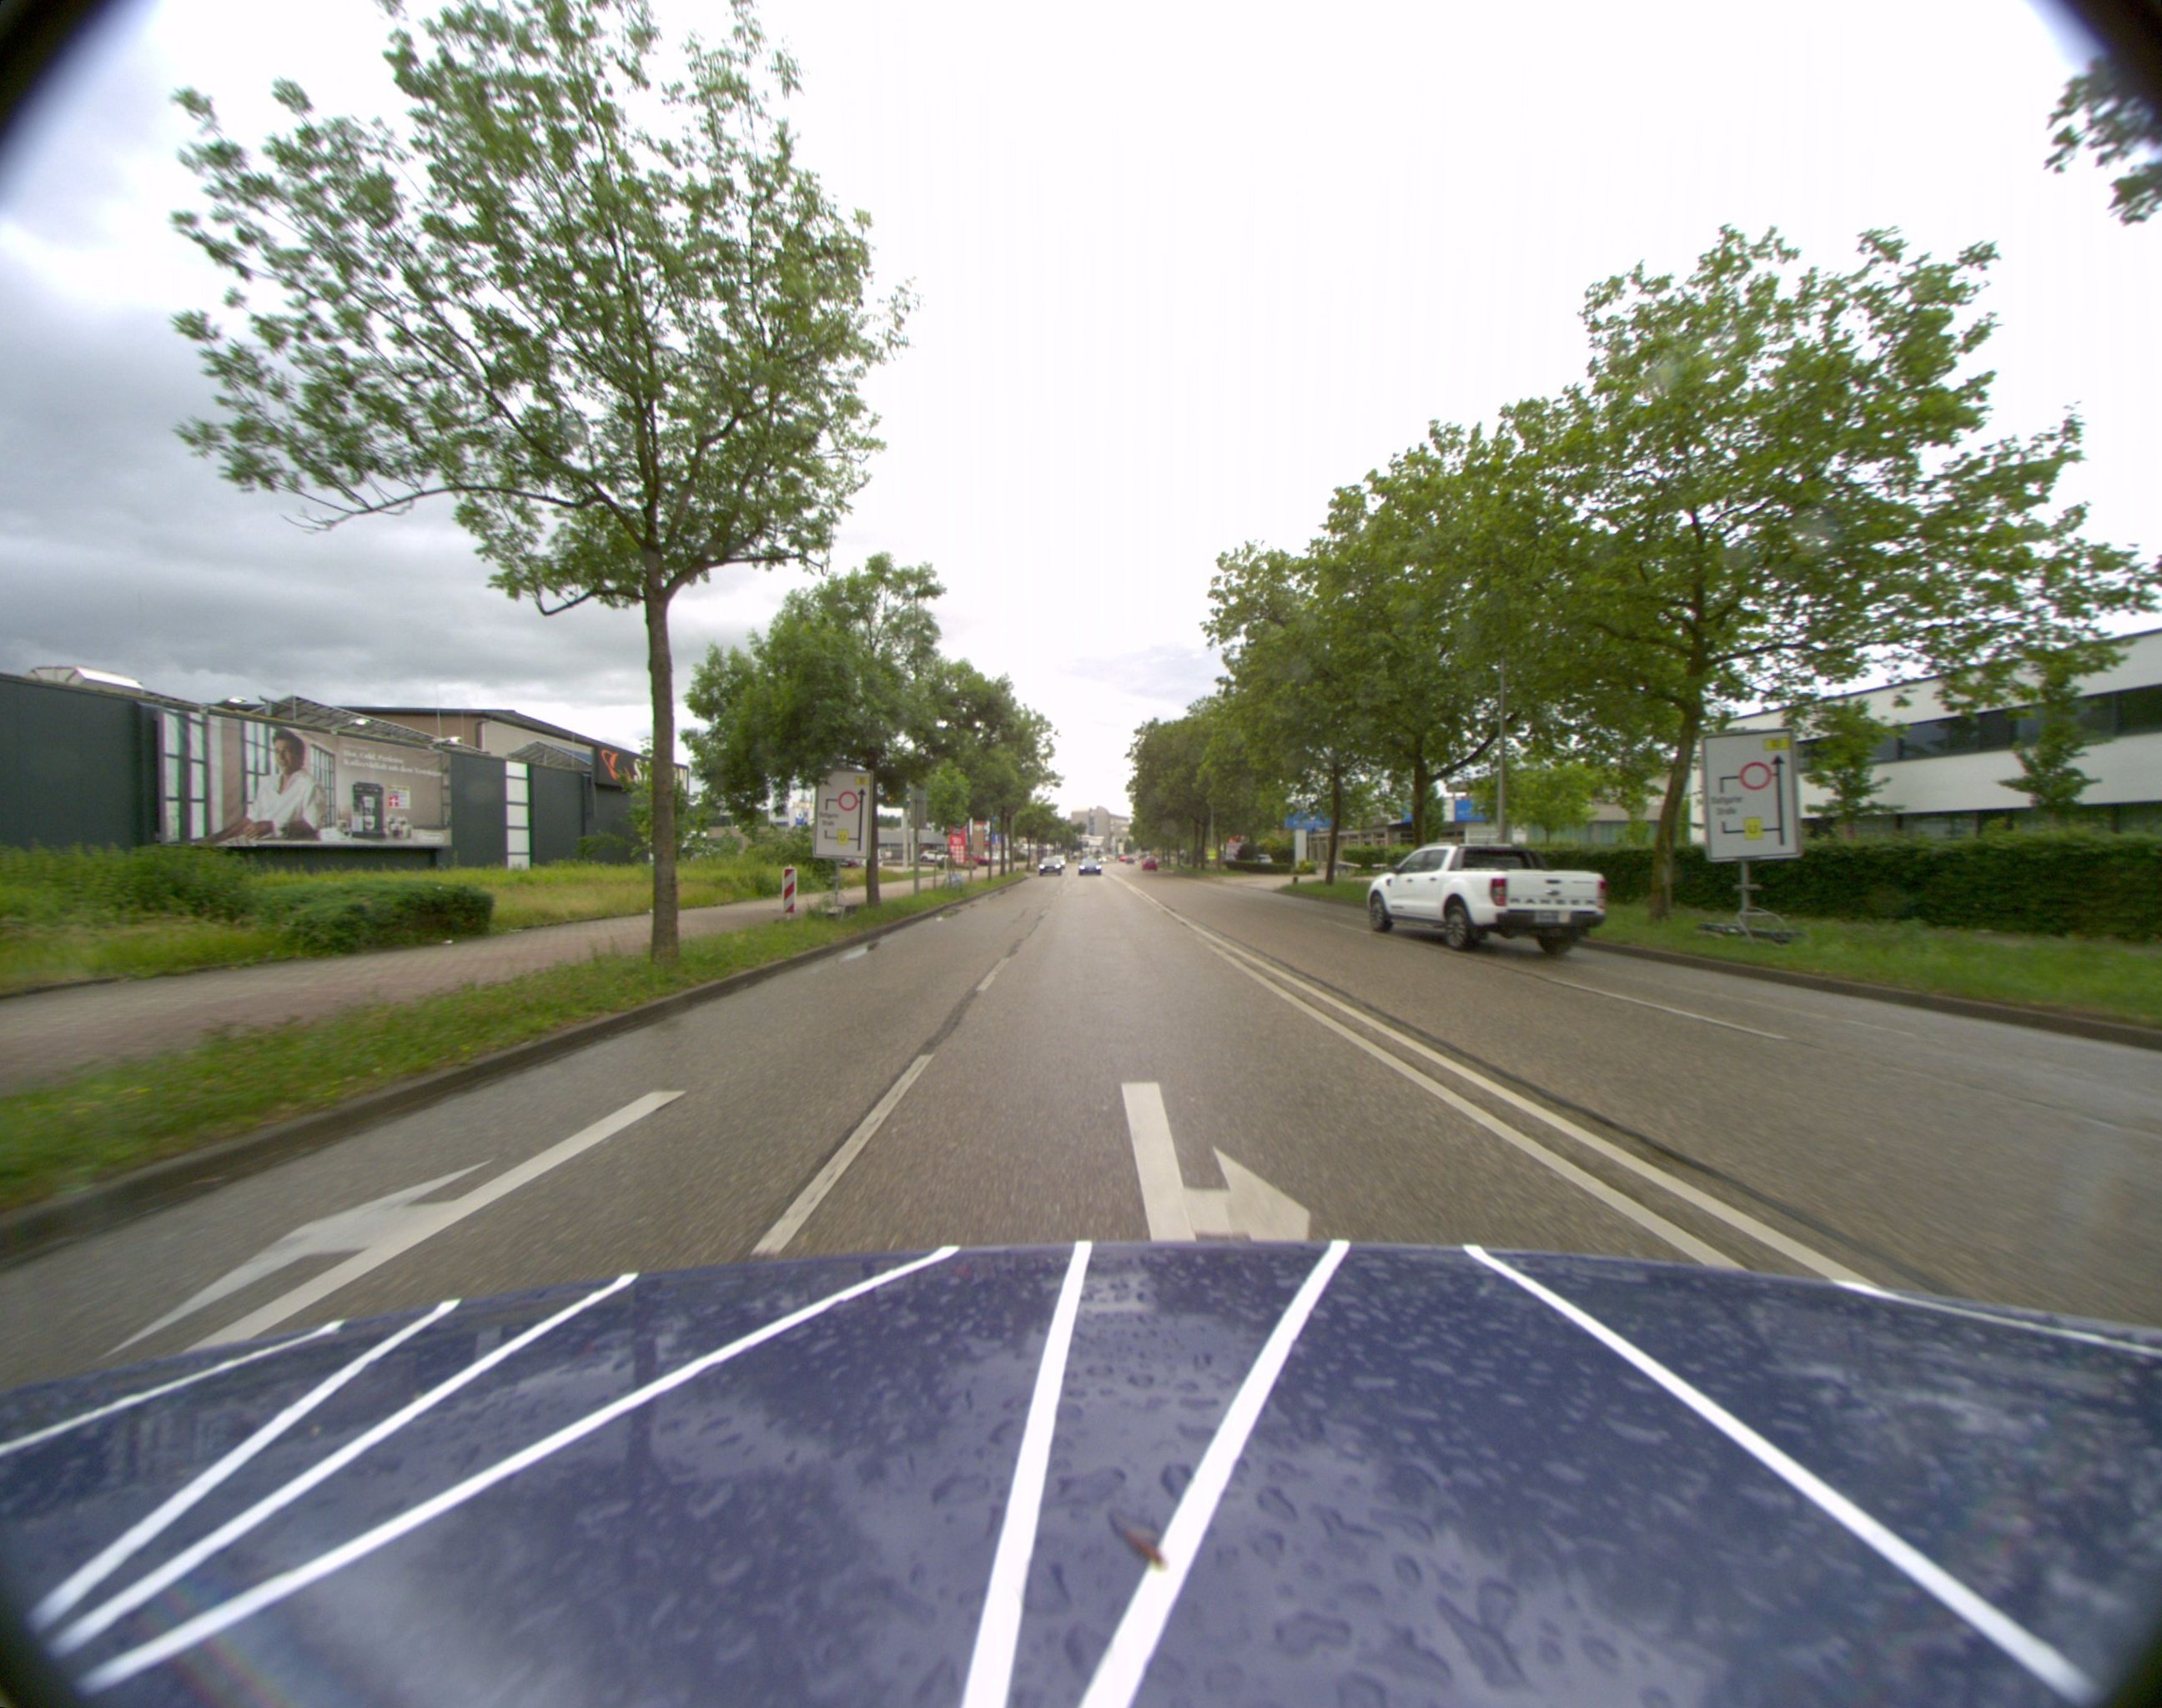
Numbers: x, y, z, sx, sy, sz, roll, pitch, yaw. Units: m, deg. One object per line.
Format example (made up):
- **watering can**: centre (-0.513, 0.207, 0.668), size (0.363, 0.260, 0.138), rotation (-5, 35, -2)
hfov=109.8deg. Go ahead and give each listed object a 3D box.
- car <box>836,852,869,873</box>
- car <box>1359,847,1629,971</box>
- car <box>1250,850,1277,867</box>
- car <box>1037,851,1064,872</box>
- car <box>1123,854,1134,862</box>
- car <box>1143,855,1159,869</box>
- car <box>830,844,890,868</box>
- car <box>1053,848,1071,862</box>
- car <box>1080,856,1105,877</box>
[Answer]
- **car**: centre (-16.459, 0.581, 54.941), size (1.755, 1.405, 4.133), rotation (1, 0, -9)
- **car**: centre (7.026, 0.805, 13.807), size (1.916, 1.795, 5.340), rotation (1, 0, -1)
- **car**: centre (18.142, 0.417, 75.734), size (1.746, 1.525, 4.000), rotation (2, 1, 2)
- **car**: centre (-2.608, 0.594, 65.921), size (1.998, 1.632, 4.360), rotation (-2, 1, 1)
- **car**: centre (9.885, 0.858, 158.816), size (1.998, 1.632, 4.360), rotation (0, 0, 1)
- **car**: centre (8.216, 0.892, 89.115), size (1.745, 1.525, 4.001), rotation (2, 1, 5)
- **car**: centre (-19.446, 0.209, 67.053), size (4.966, 2.002, 1.998), rotation (1, 0, -11)
- **car**: centre (-2.288, 0.138, 93.515), size (1.998, 1.632, 4.360), rotation (-2, 1, 1)
- **car**: centre (0.968, 1.016, 63.548), size (1.998, 1.632, 4.360), rotation (-2, 1, 1)
